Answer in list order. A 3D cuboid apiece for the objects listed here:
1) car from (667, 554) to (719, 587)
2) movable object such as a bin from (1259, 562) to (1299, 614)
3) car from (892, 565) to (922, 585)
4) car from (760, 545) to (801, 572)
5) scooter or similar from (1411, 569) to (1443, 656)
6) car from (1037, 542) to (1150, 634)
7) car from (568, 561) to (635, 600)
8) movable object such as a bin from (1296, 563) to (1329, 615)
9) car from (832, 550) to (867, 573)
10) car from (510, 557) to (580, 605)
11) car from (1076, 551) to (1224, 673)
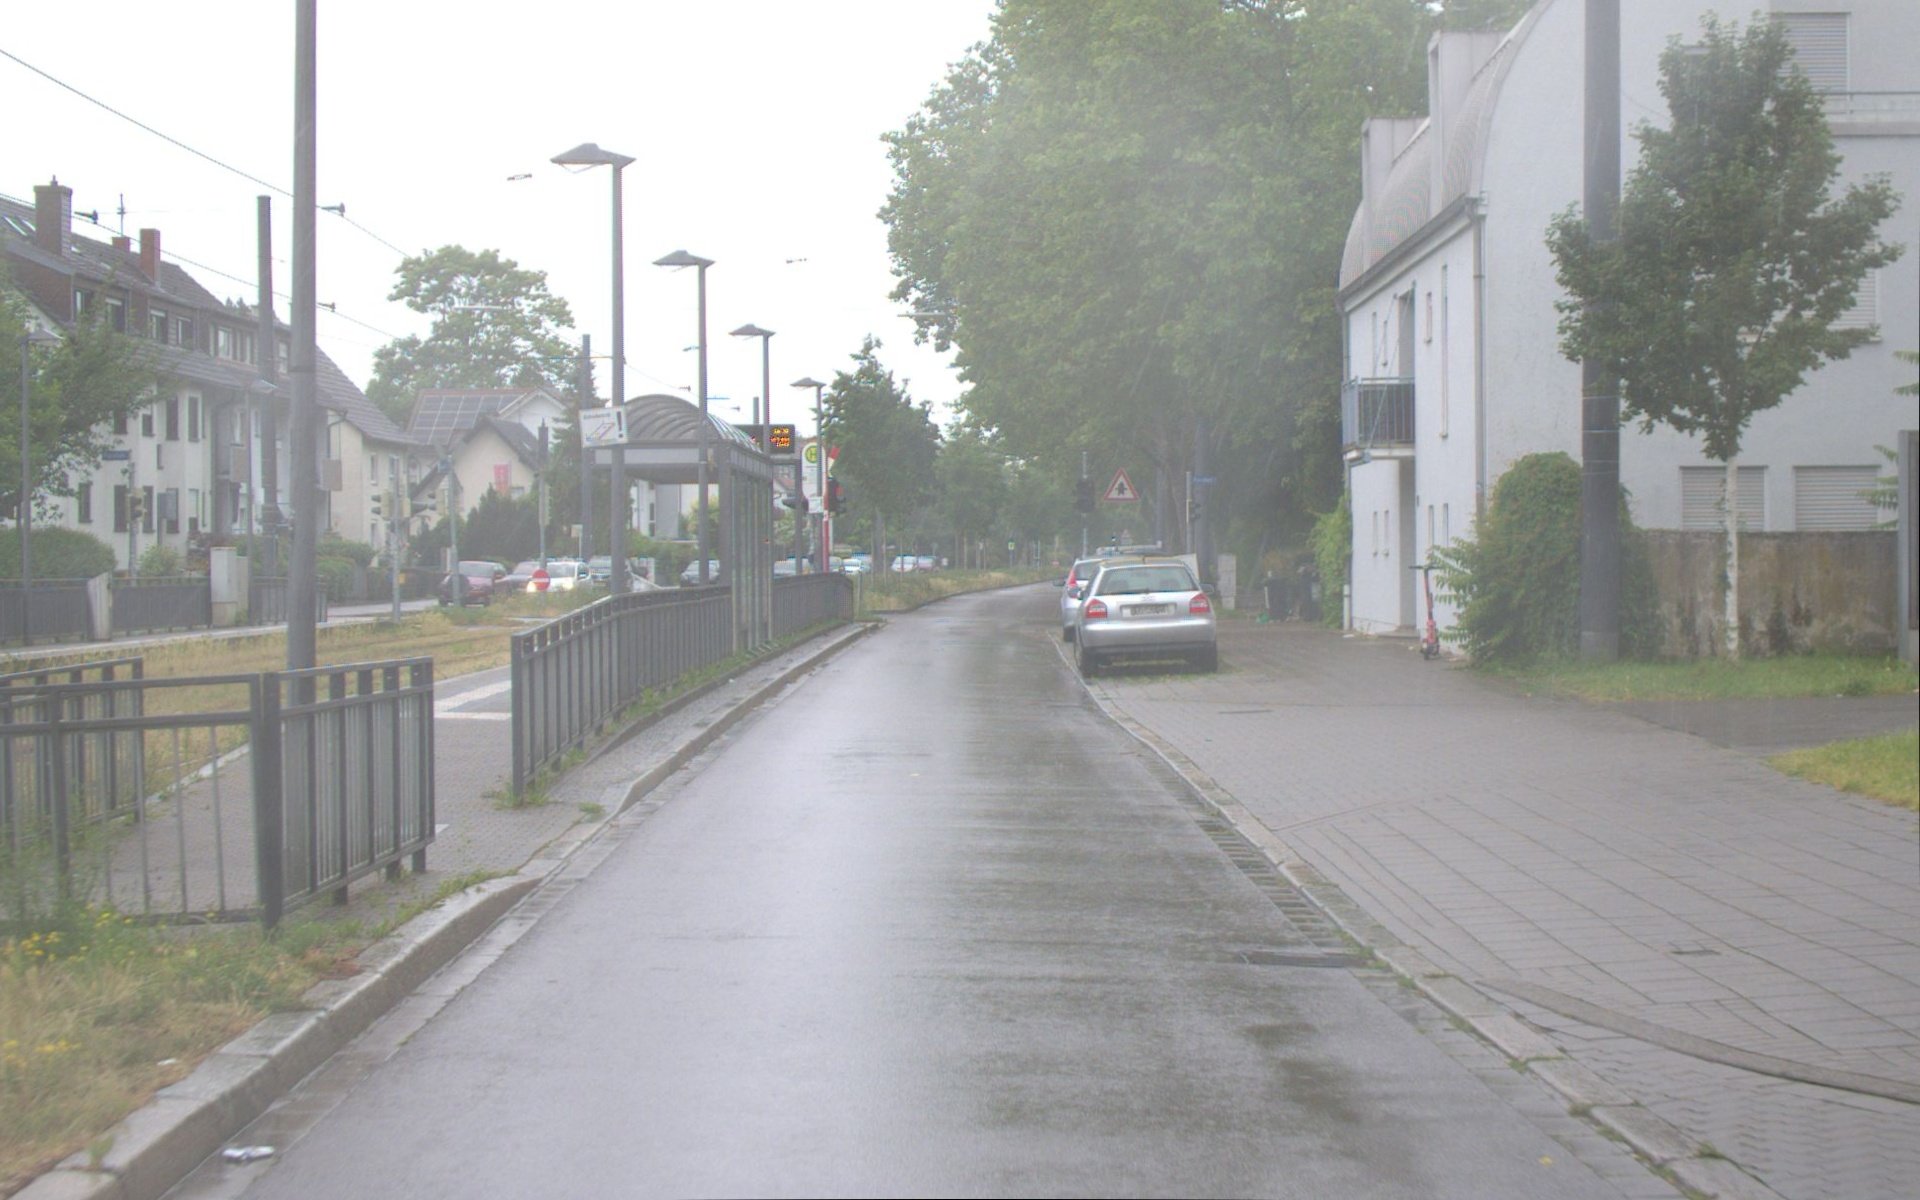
[{"bbox_3d":[-12.664,-1.395,163.257,1.928,1.481,3.999,1,0,4],"label":"car"},{"bbox_3d":[6.487,-0.244,69.848,0.692,1.018,0.824,-2,0,0],"label":"movable object such as a bin"},{"bbox_3d":[-4.044,-1.906,261.620,1.928,1.481,3.999,1,0,4],"label":"car"},{"bbox_3d":[-10.330,-2.393,198.195,1.928,1.481,3.999,1,0,4],"label":"car"},{"bbox_3d":[5.877,0.152,43.266,0.333,1.081,1.395,1,0,6],"label":"scooter or similar"},{"bbox_3d":[2.304,-0.200,60.206,1.807,1.462,3.794,-3,0,1],"label":"car"},{"bbox_3d":[-13.953,-0.744,133.901,1.928,1.481,3.999,1,0,4],"label":"car"},{"bbox_3d":[7.091,-0.230,69.154,0.536,1.018,0.739,-2,0,0],"label":"movable object such as a bin"},{"bbox_3d":[-7.438,-2.607,231.928,1.928,1.481,3.999,1,0,4],"label":"car"},{"bbox_3d":[-13.185,-0.599,109.414,1.633,1.488,4.000,1,0,1],"label":"car"},{"bbox_3d":[2.403,0.140,44.462,1.650,1.400,4.649,-3,0,1],"label":"car"}]
